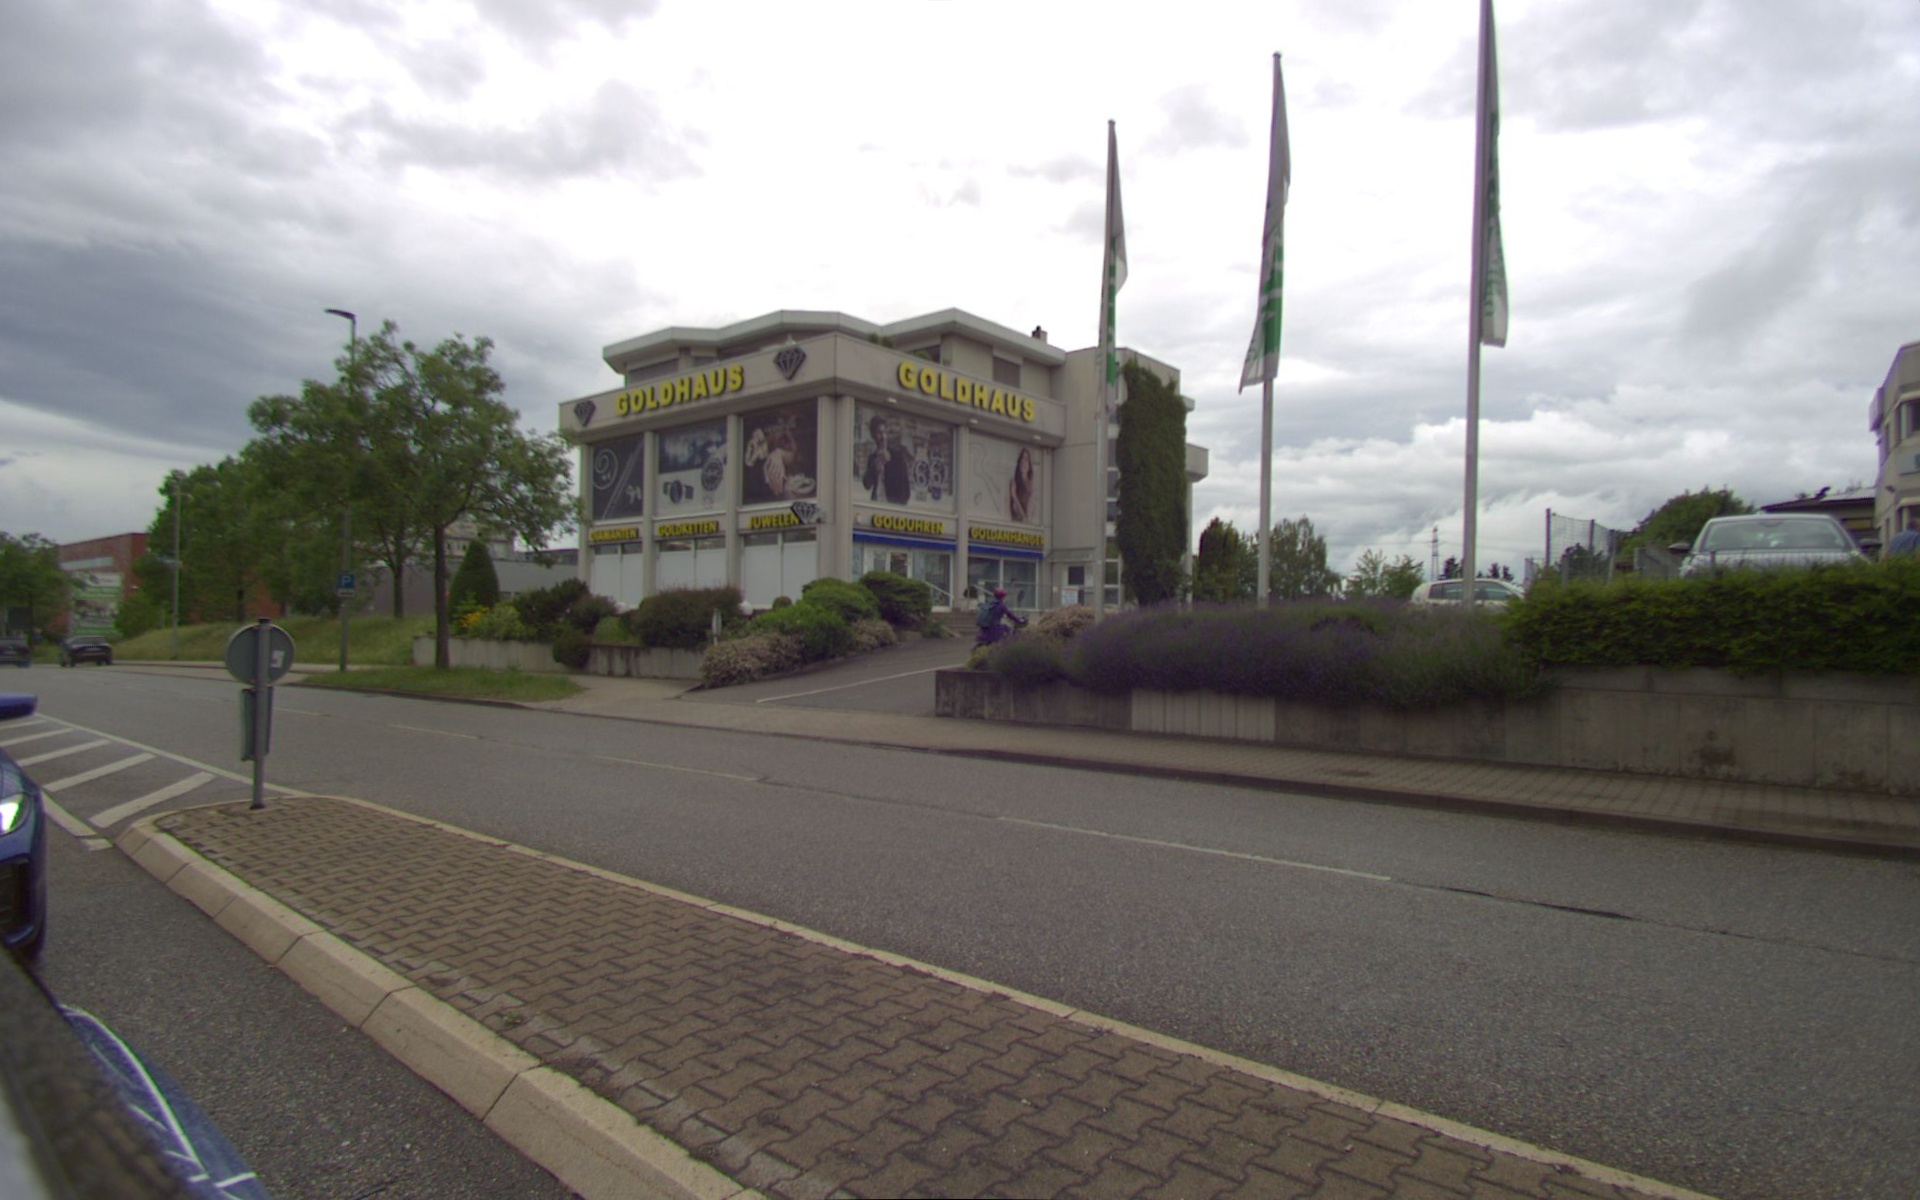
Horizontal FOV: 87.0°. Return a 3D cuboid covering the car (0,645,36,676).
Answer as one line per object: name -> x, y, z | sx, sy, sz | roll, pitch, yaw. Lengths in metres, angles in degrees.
car -> -51.067, 3.278, 54.225 | 4.000, 1.608, 1.971 | -4, -4, 43

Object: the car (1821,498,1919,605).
car -> 14.880, -0.699, 16.244 | 1.452, 1.484, 3.353 | -2, -2, 38

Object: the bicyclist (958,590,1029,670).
bicyclist -> 0.674, 0.584, 20.155 | 0.909, 1.453, 1.014 | -2, 3, 39

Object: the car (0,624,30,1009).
car -> -5.947, 0.855, 4.734 | 4.593, 1.468, 1.762 | -1, -1, 40

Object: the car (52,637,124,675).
car -> -47.068, 3.040, 54.594 | 4.542, 1.905, 2.320 | -4, -4, 41

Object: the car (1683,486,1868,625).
car -> 9.453, -0.391, 11.674 | 1.454, 1.347, 3.350 | -2, -2, 42

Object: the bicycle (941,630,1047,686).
bicycle -> 0.719, 1.127, 20.190 | 0.909, 0.820, 2.264 | -2, 4, 39

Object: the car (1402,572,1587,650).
car -> 11.899, 0.279, 22.624 | 3.384, 1.609, 1.511 | -2, -2, 41
